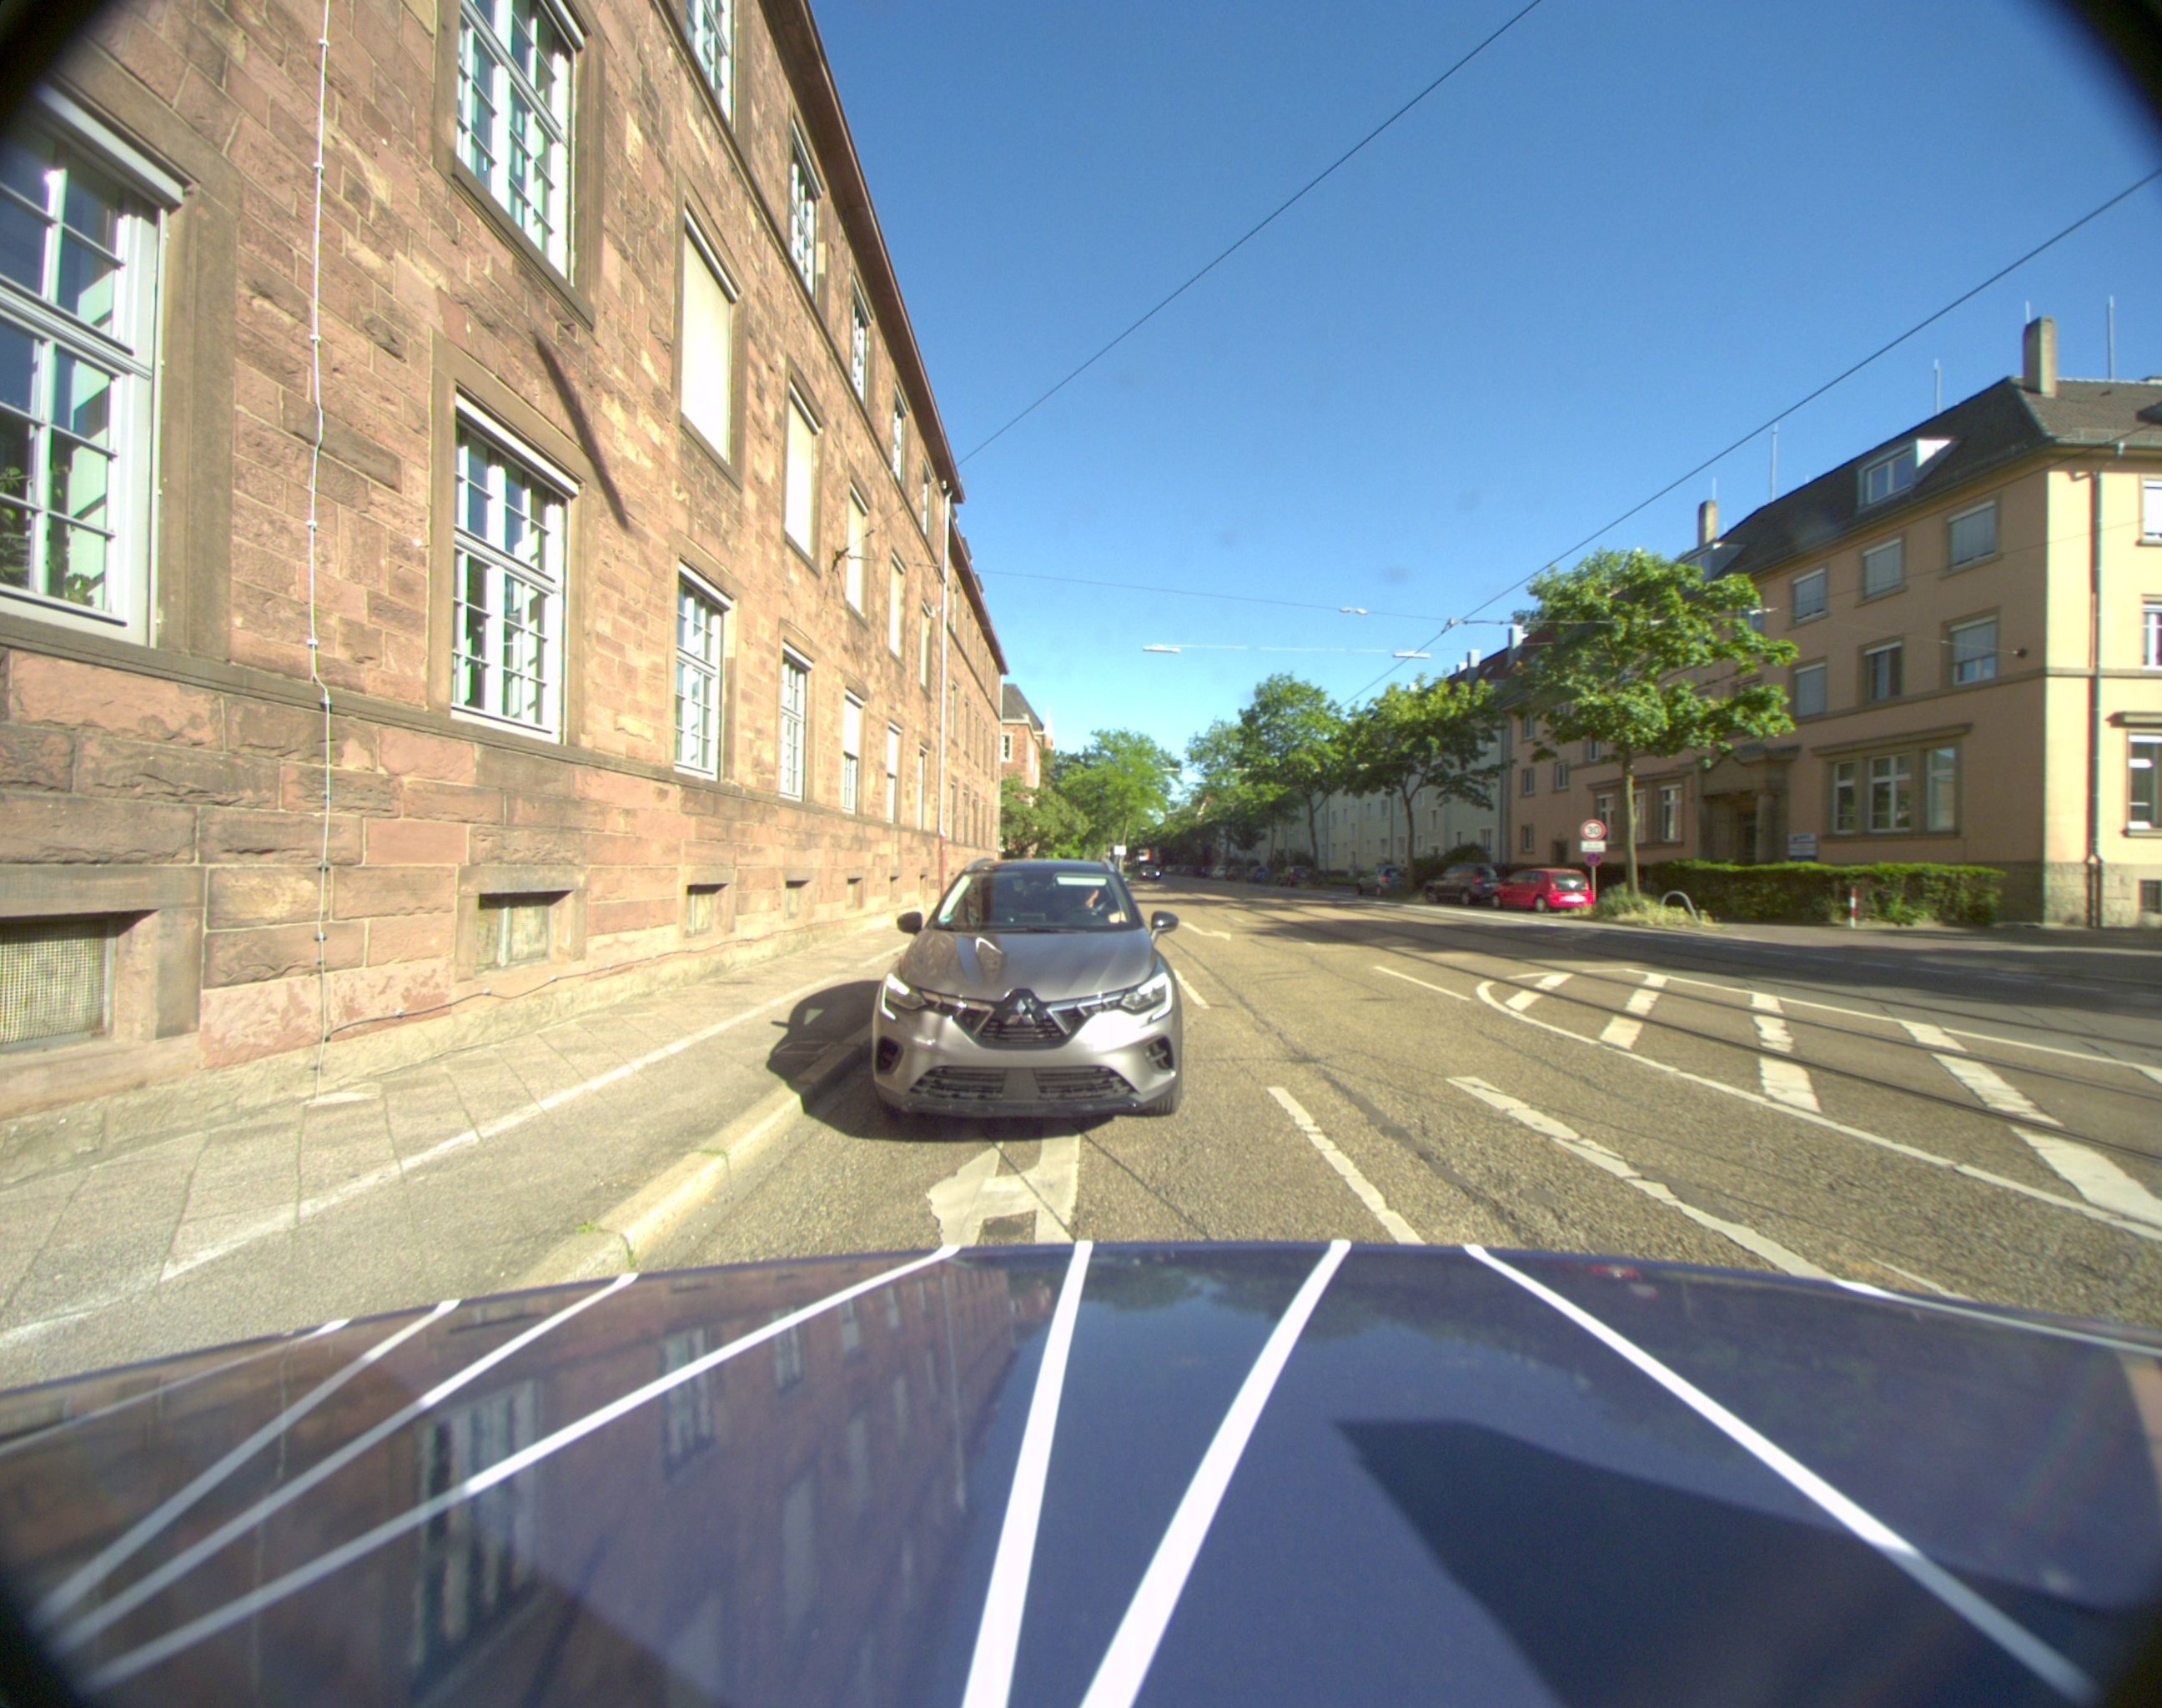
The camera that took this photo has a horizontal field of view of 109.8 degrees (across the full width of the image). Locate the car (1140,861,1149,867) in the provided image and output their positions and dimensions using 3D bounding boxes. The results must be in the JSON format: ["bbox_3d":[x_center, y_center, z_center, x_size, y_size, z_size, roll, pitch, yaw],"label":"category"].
[{"bbox_3d":[16.071,2.492,191.345,1.816,1.411,3.630,1,0,-2],"label":"car"}]

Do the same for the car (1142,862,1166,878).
[{"bbox_3d":[7.346,1.572,76.457,1.912,1.510,4.000,1,0,-1],"label":"car"}]

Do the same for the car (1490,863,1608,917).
[{"bbox_3d":[15.855,1.176,25.946,1.816,1.696,3.374,1,0,-3],"label":"car"}]

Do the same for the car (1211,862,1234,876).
[{"bbox_3d":[16.032,1.678,85.938,1.816,1.411,3.630,1,0,-2],"label":"car"}]

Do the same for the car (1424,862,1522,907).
[{"bbox_3d":[15.645,1.180,30.555,1.816,1.648,3.819,1,0,-3],"label":"car"}]

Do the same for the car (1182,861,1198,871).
[{"bbox_3d":[16.040,1.754,111.817,1.816,1.411,3.630,1,0,-2],"label":"car"}]

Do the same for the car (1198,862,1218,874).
[{"bbox_3d":[15.848,1.766,94.865,1.816,1.411,3.630,1,0,-2],"label":"car"}]

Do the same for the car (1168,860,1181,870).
[{"bbox_3d":[16.592,1.951,135.246,1.816,1.768,3.630,1,0,-2],"label":"car"}]

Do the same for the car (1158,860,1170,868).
[{"bbox_3d":[15.981,1.860,146.883,1.816,1.514,3.630,1,0,-2],"label":"car"}]

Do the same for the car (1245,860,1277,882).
[{"bbox_3d":[15.974,1.482,67.502,1.816,1.814,3.795,1,0,-2],"label":"car"}]

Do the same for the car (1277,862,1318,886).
[{"bbox_3d":[15.792,1.438,55.609,1.816,1.589,3.630,1,0,-2],"label":"car"}]

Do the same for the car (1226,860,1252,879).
[{"bbox_3d":[15.903,1.539,76.579,1.816,1.929,3.630,1,0,-2],"label":"car"}]

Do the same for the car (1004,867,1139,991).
[{"bbox_3d":[-0.179,1.036,12.051,1.796,1.595,3.799,0,0,-2],"label":"car"}]

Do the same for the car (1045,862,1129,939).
[{"bbox_3d":[0.074,1.019,18.498,1.796,1.638,4.083,0,0,-2],"label":"car"}]

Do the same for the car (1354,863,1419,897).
[{"bbox_3d":[15.733,1.311,39.364,1.816,1.648,3.877,1,0,1],"label":"car"}]

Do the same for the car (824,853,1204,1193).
[{"bbox_3d":[-0.363,0.815,5.522,1.796,1.595,3.799,0,0,-2],"label":"car"}]
